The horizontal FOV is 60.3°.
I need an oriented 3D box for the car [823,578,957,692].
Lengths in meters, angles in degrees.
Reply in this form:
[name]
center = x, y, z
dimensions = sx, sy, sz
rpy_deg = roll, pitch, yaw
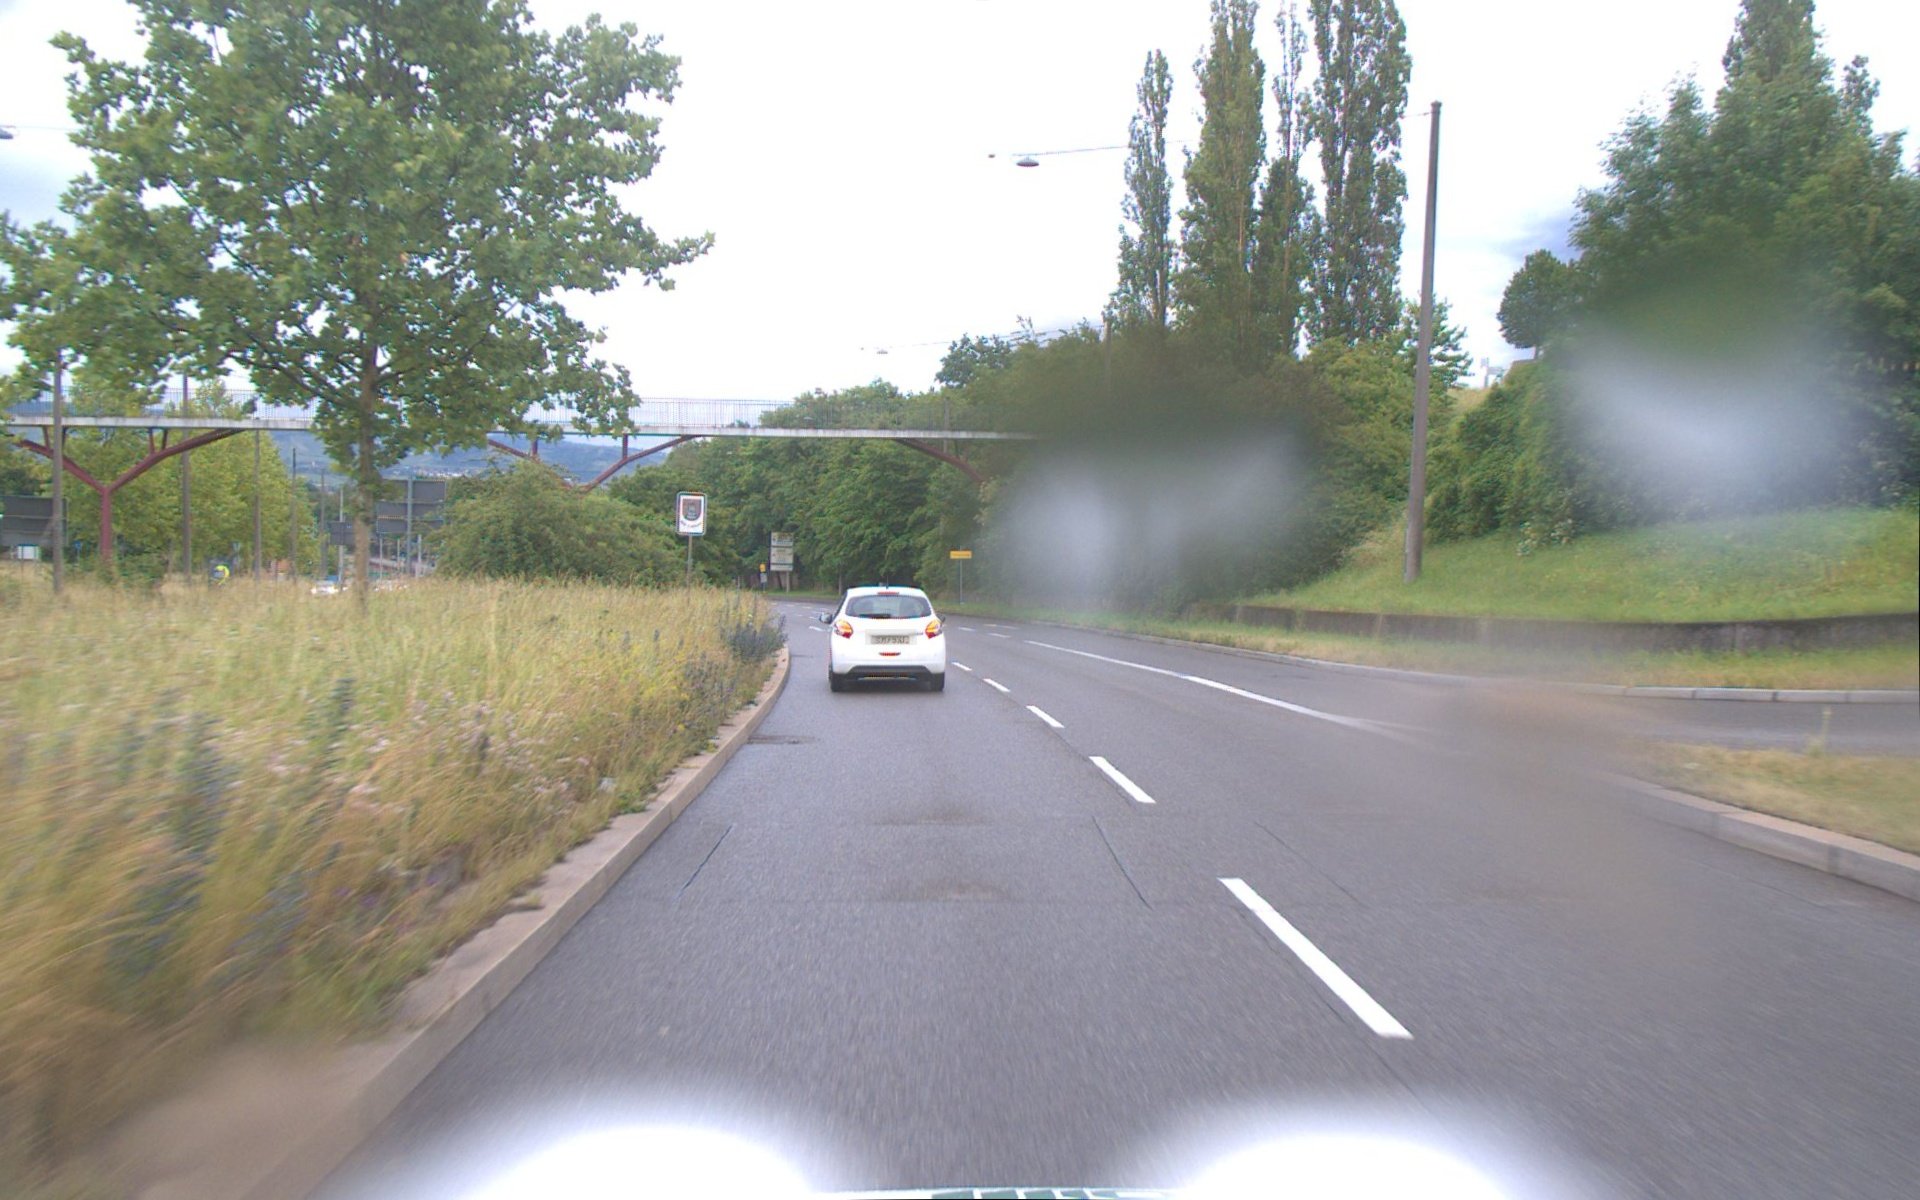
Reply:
[car]
center = -1.089, 0.466, 24.937
dimensions = 1.831, 1.537, 3.897
rpy_deg = 1, 1, -4
